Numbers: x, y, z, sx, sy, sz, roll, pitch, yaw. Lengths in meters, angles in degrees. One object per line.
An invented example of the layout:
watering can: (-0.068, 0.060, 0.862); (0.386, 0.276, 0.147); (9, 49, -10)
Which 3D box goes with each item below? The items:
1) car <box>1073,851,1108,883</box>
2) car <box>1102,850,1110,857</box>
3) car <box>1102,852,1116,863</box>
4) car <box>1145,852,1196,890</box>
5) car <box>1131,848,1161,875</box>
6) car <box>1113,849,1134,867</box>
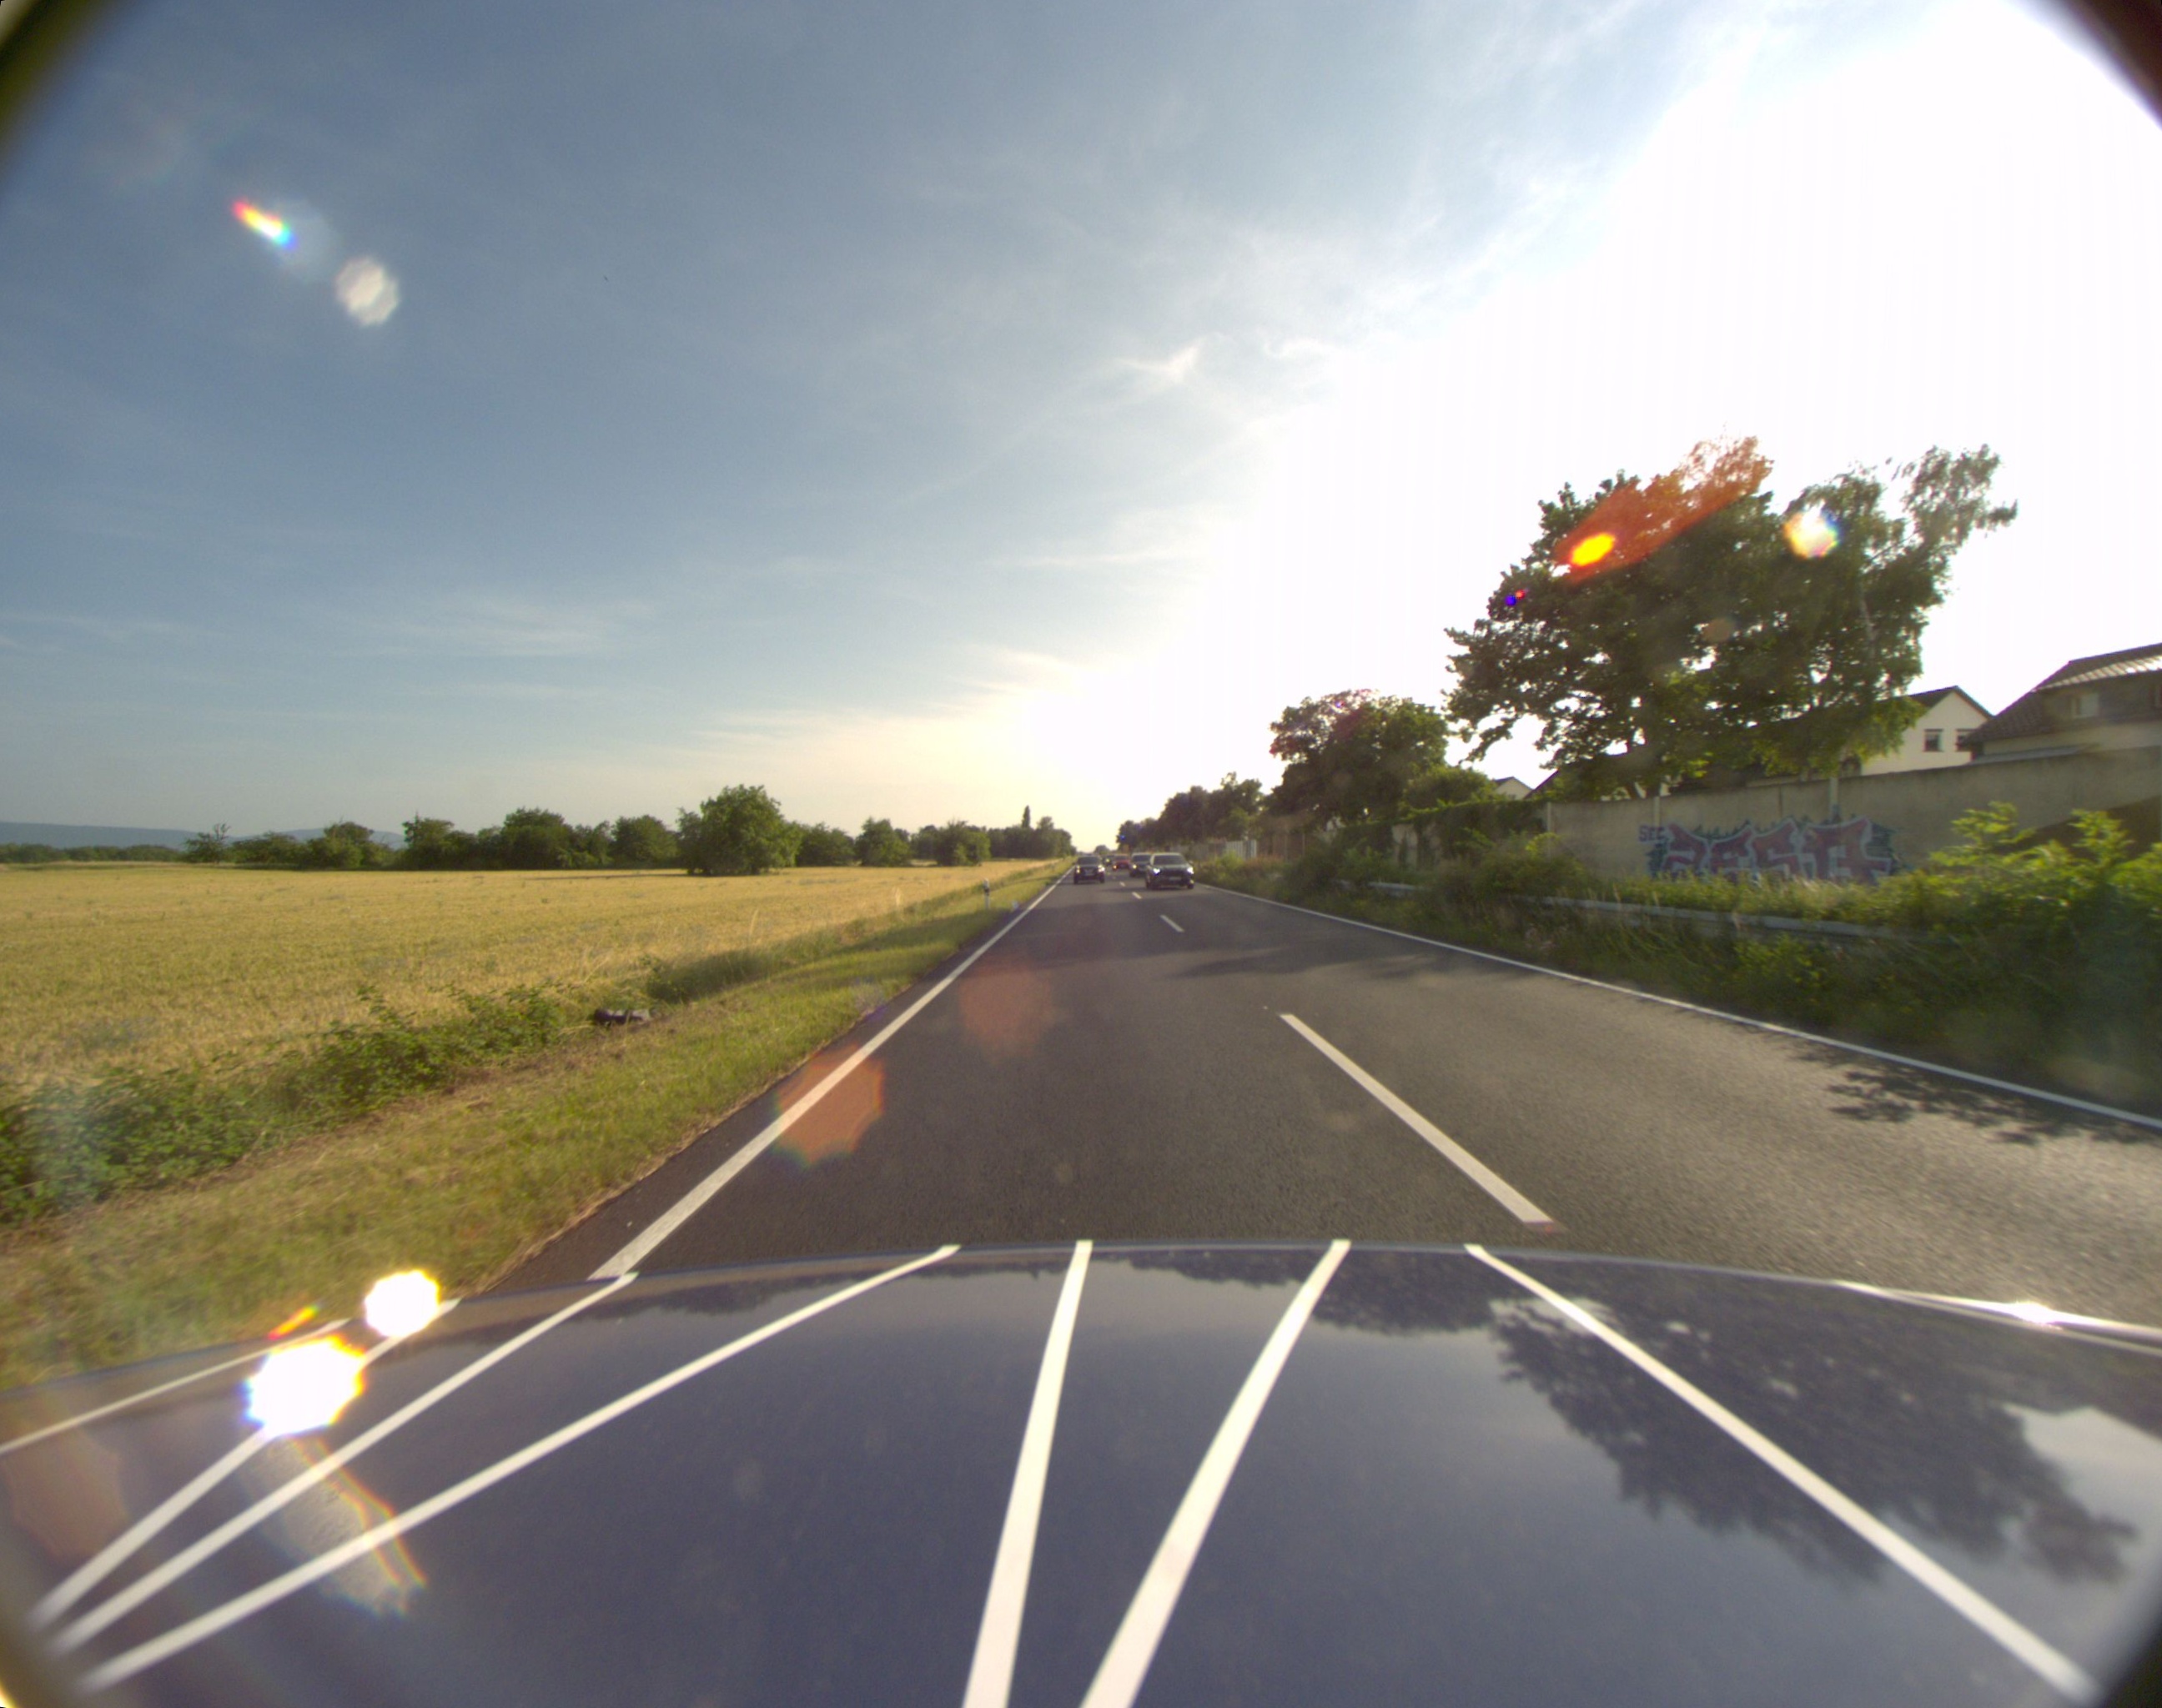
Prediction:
car: (0.538, 0.708, 43.577); (1.822, 1.661, 3.999); (-2, 1, 1)
car: (5.551, -0.082, 168.828); (1.693, 1.397, 3.999); (-2, 1, 1)
car: (3.853, 0.485, 104.881); (1.700, 1.456, 3.646); (-2, 1, 0)
car: (3.983, 0.711, 34.419); (1.821, 1.516, 4.246); (-2, 1, 1)
car: (4.548, 0.506, 53.792); (1.822, 1.724, 4.000); (-2, 1, 1)
car: (4.155, 0.367, 75.017); (1.822, 1.661, 4.000); (-2, 1, 1)
